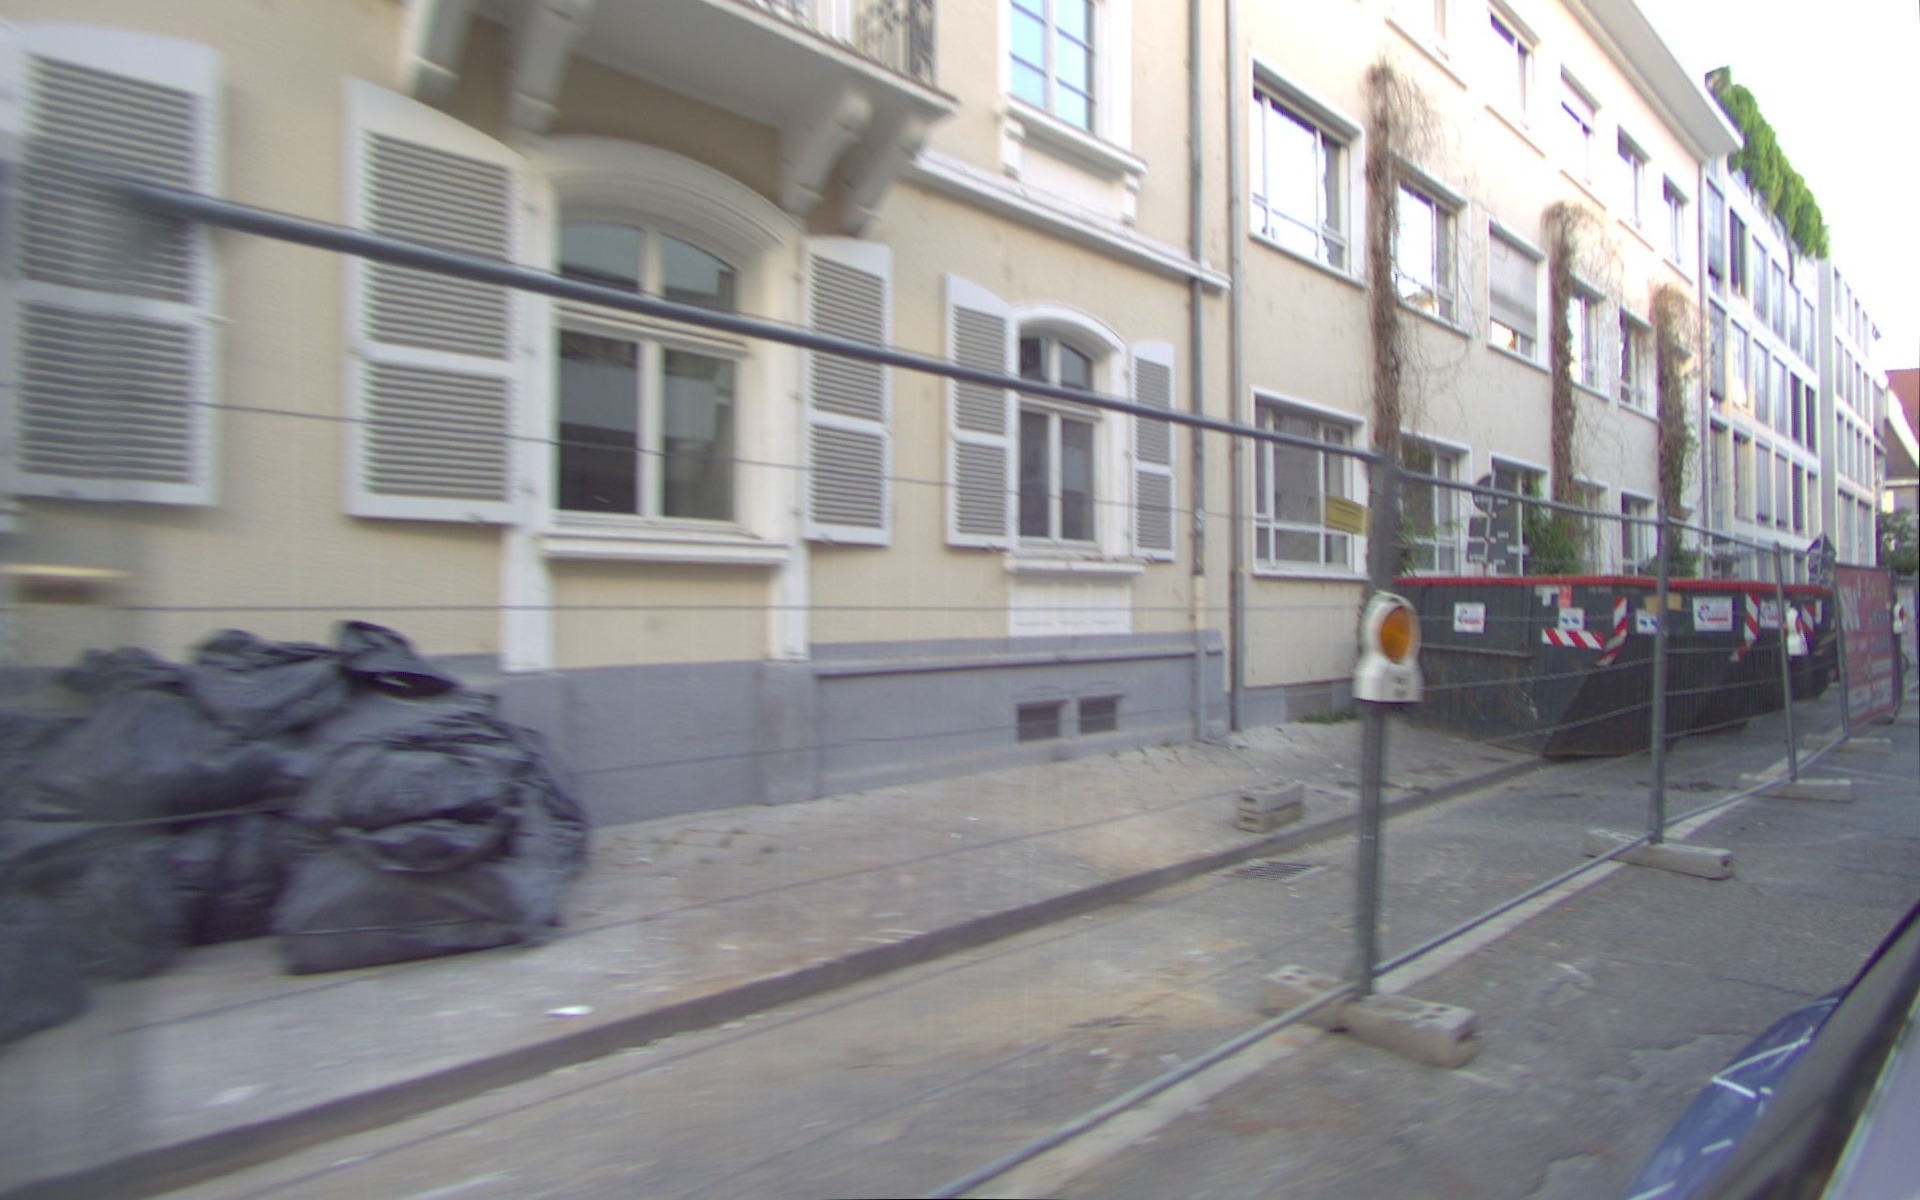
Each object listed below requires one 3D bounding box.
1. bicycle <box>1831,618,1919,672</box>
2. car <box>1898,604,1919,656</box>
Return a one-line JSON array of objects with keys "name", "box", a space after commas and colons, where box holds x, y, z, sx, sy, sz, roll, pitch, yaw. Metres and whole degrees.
[{"name": "bicycle", "box": [20.266, 0.970, 22.294, 0.463, 1.096, 1.778, 0, 0, -7]}, {"name": "car", "box": [26.375, 0.763, 27.068, 3.713, 1.309, 1.491, 0, -2, -42]}]
